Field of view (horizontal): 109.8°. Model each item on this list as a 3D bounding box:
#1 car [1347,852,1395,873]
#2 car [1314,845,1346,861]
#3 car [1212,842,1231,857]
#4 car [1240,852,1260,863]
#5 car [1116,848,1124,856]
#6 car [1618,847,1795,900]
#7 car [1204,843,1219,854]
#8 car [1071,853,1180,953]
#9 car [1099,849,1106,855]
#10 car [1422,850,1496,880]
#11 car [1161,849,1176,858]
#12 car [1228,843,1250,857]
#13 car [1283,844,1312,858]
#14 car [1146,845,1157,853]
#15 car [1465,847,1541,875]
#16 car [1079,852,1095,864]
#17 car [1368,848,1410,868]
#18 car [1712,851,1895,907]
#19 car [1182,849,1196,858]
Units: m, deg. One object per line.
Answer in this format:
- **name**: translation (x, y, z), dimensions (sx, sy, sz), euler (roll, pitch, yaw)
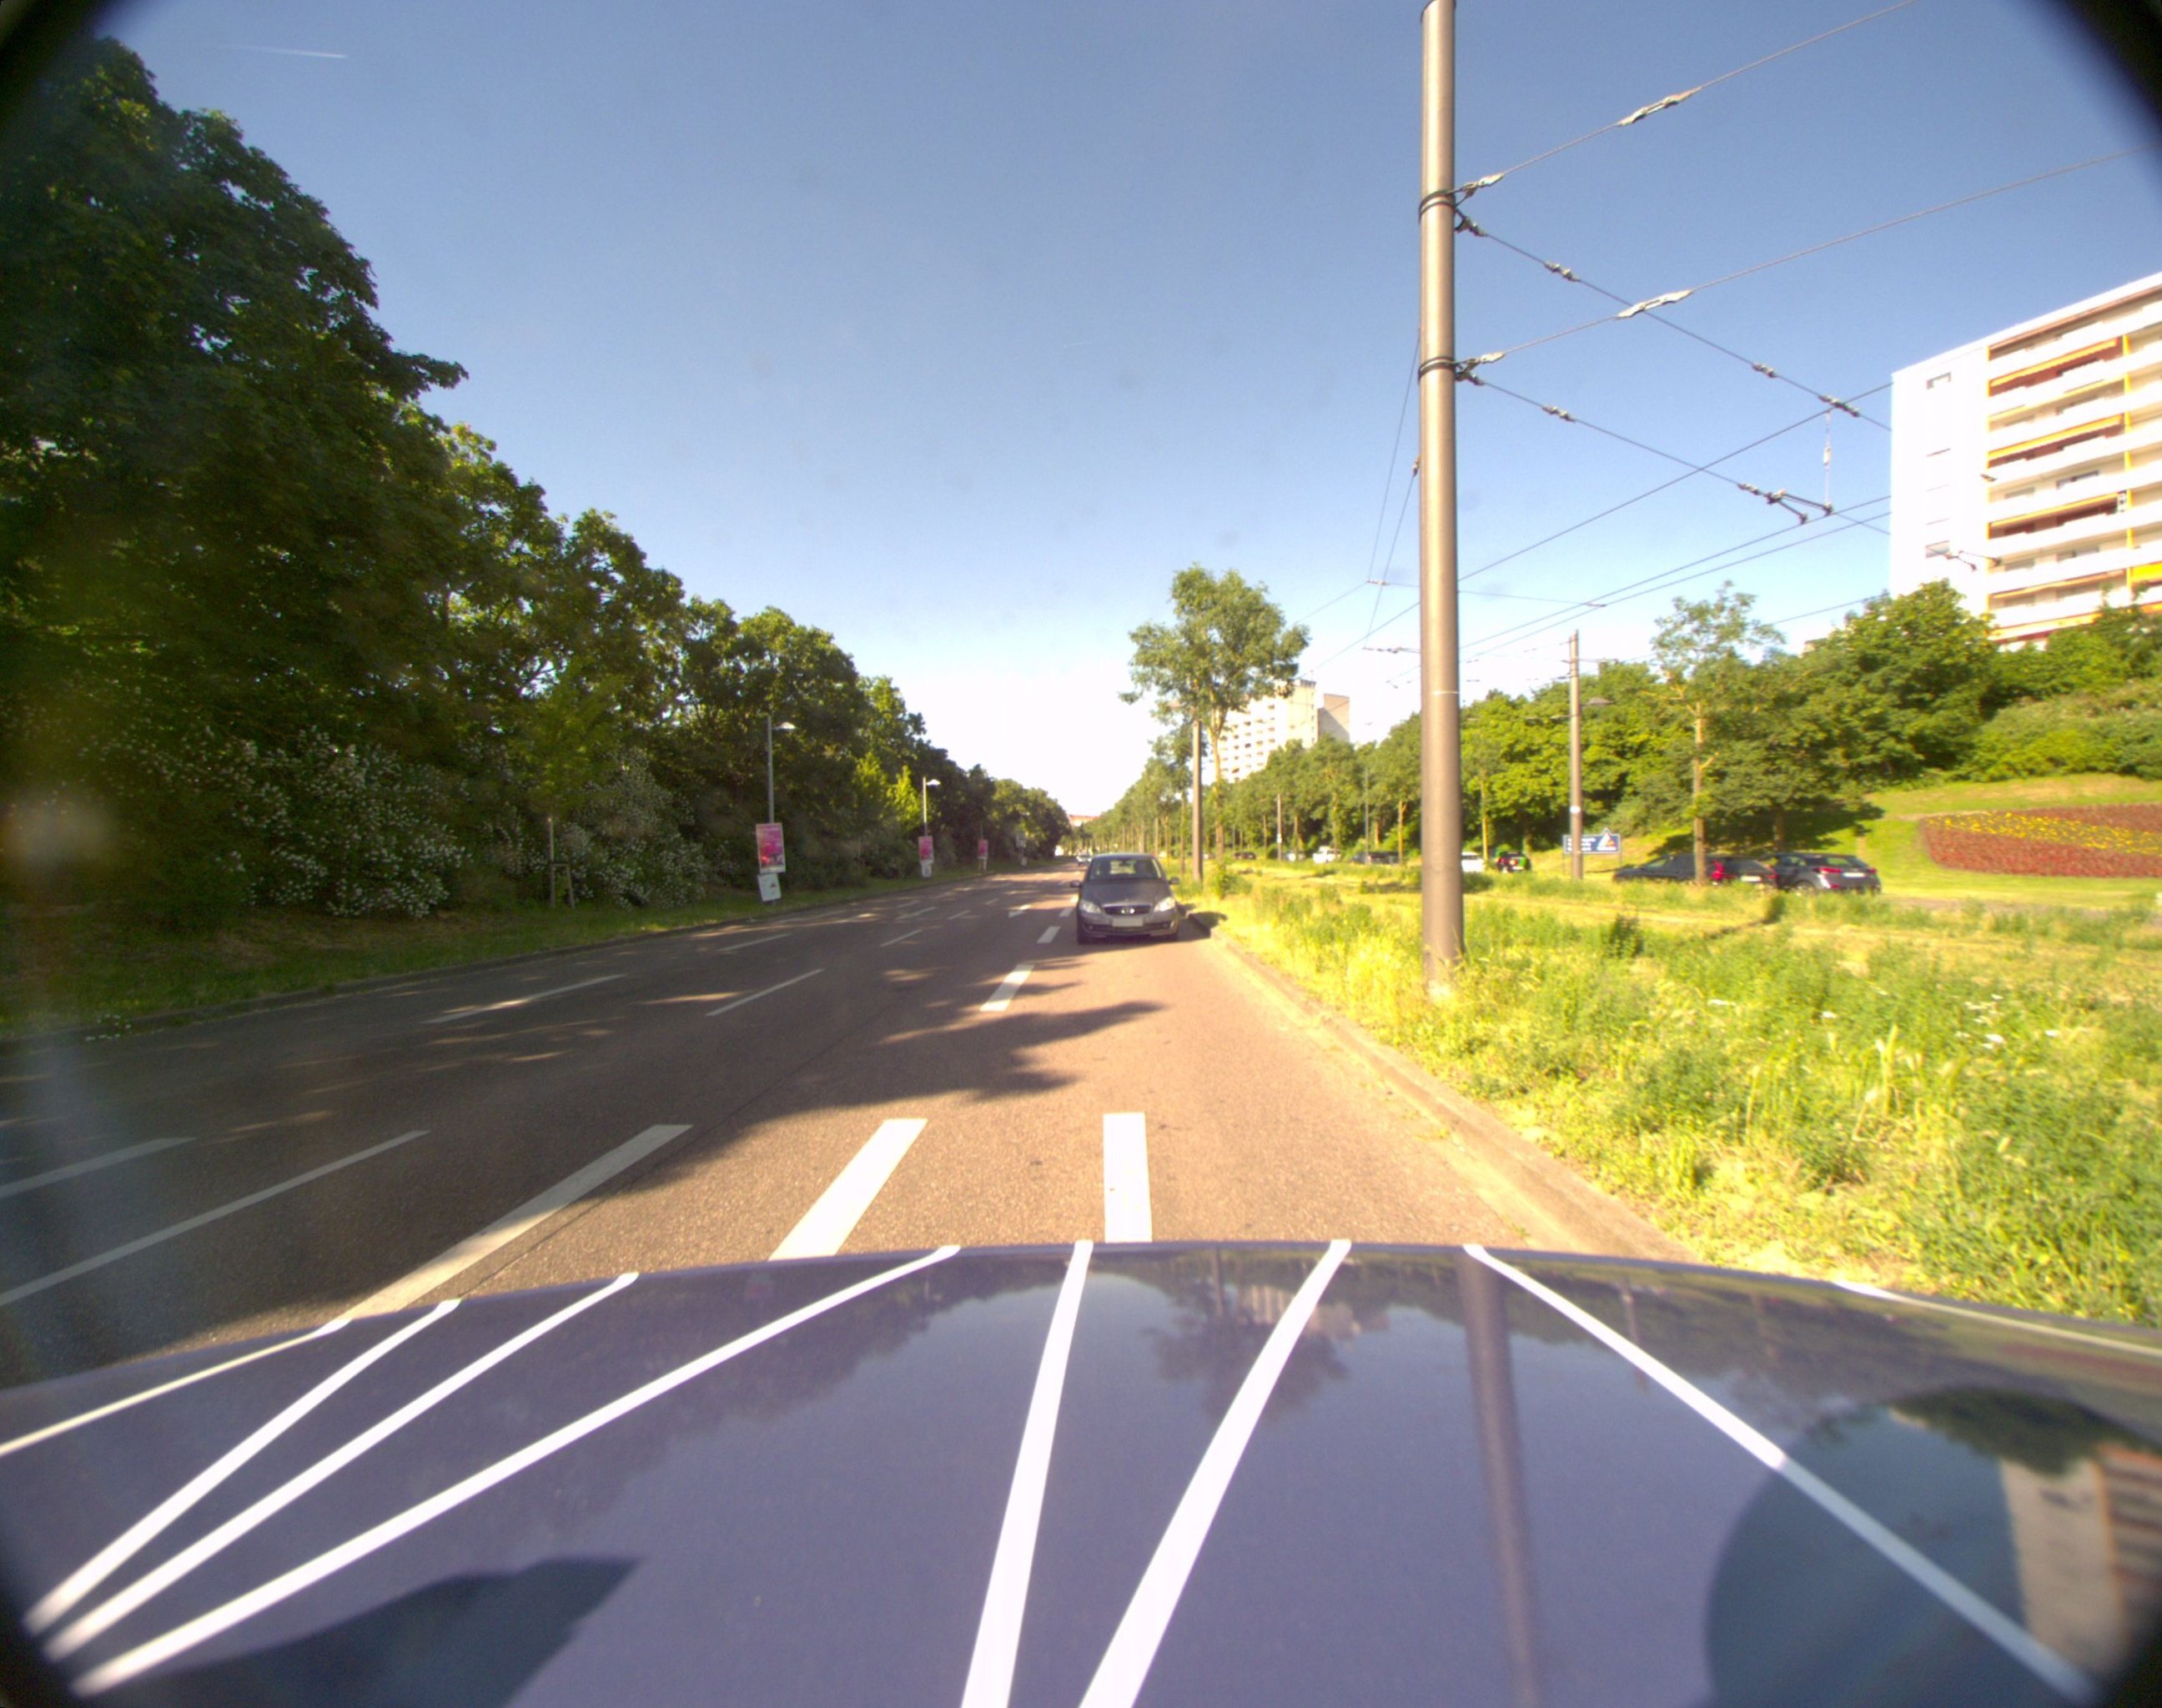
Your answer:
- **car**: translation (19.852, 0.569, 52.216), dimensions (1.825, 1.353, 4.230), euler (-1, 0, 3)
- **car**: translation (23.158, -0.114, 70.845), dimensions (1.847, 1.390, 4.000), euler (-1, 0, 2)
- **car**: translation (19.621, -0.599, 106.428), dimensions (1.998, 2.002, 4.000), euler (-1, 0, 1)
- **car**: translation (22.435, 0.445, 101.224), dimensions (1.802, 1.455, 4.000), euler (-1, 0, 1)
- **car**: translation (10.649, -0.511, 208.053), dimensions (1.942, 2.002, 3.999), euler (-1, 0, -2)
- **car**: translation (18.461, 0.508, 22.721), dimensions (1.799, 1.408, 4.310), euler (-1, 0, 1)
- **car**: translation (21.993, -0.935, 128.178), dimensions (1.882, 1.755, 4.000), euler (-1, 0, 1)
- **car**: translation (0.760, 0.808, 14.463), dimensions (1.759, 1.612, 3.880), euler (-1, 0, 1)
- **car**: translation (6.707, -0.651, 239.374), dimensions (1.999, 2.002, 3.998), euler (-1, 0, -3)
- **car**: translation (18.908, 0.516, 38.219), dimensions (1.867, 1.410, 4.000), euler (-1, 0, 3)
- **car**: translation (17.728, -0.131, 153.972), dimensions (1.911, 1.652, 3.996), euler (-1, 0, -10)
- **car**: translation (19.613, -0.488, 94.302), dimensions (1.882, 1.755, 4.000), euler (-1, 0, 1)
- **car**: translation (23.468, -0.328, 82.410), dimensions (1.998, 1.477, 4.000), euler (-1, 0, 1)
- **car**: translation (16.673, -1.158, 180.476), dimensions (1.883, 1.755, 3.997), euler (-1, 0, -7)
- **car**: translation (22.513, 0.345, 40.723), dimensions (1.867, 1.410, 4.000), euler (-1, 0, 1)
- **car**: translation (0.815, 0.536, 97.867), dimensions (1.876, 1.428, 4.594), euler (-1, 0, 2)
- **car**: translation (22.846, 0.278, 56.514), dimensions (1.740, 1.368, 4.001), euler (-1, 0, 4)
- **car**: translation (21.738, 0.694, 23.140), dimensions (1.792, 1.499, 4.242), euler (-1, 0, 5)
- **car**: translation (20.350, -0.114, 143.324), dimensions (1.910, 1.652, 3.998), euler (-1, 0, -4)
